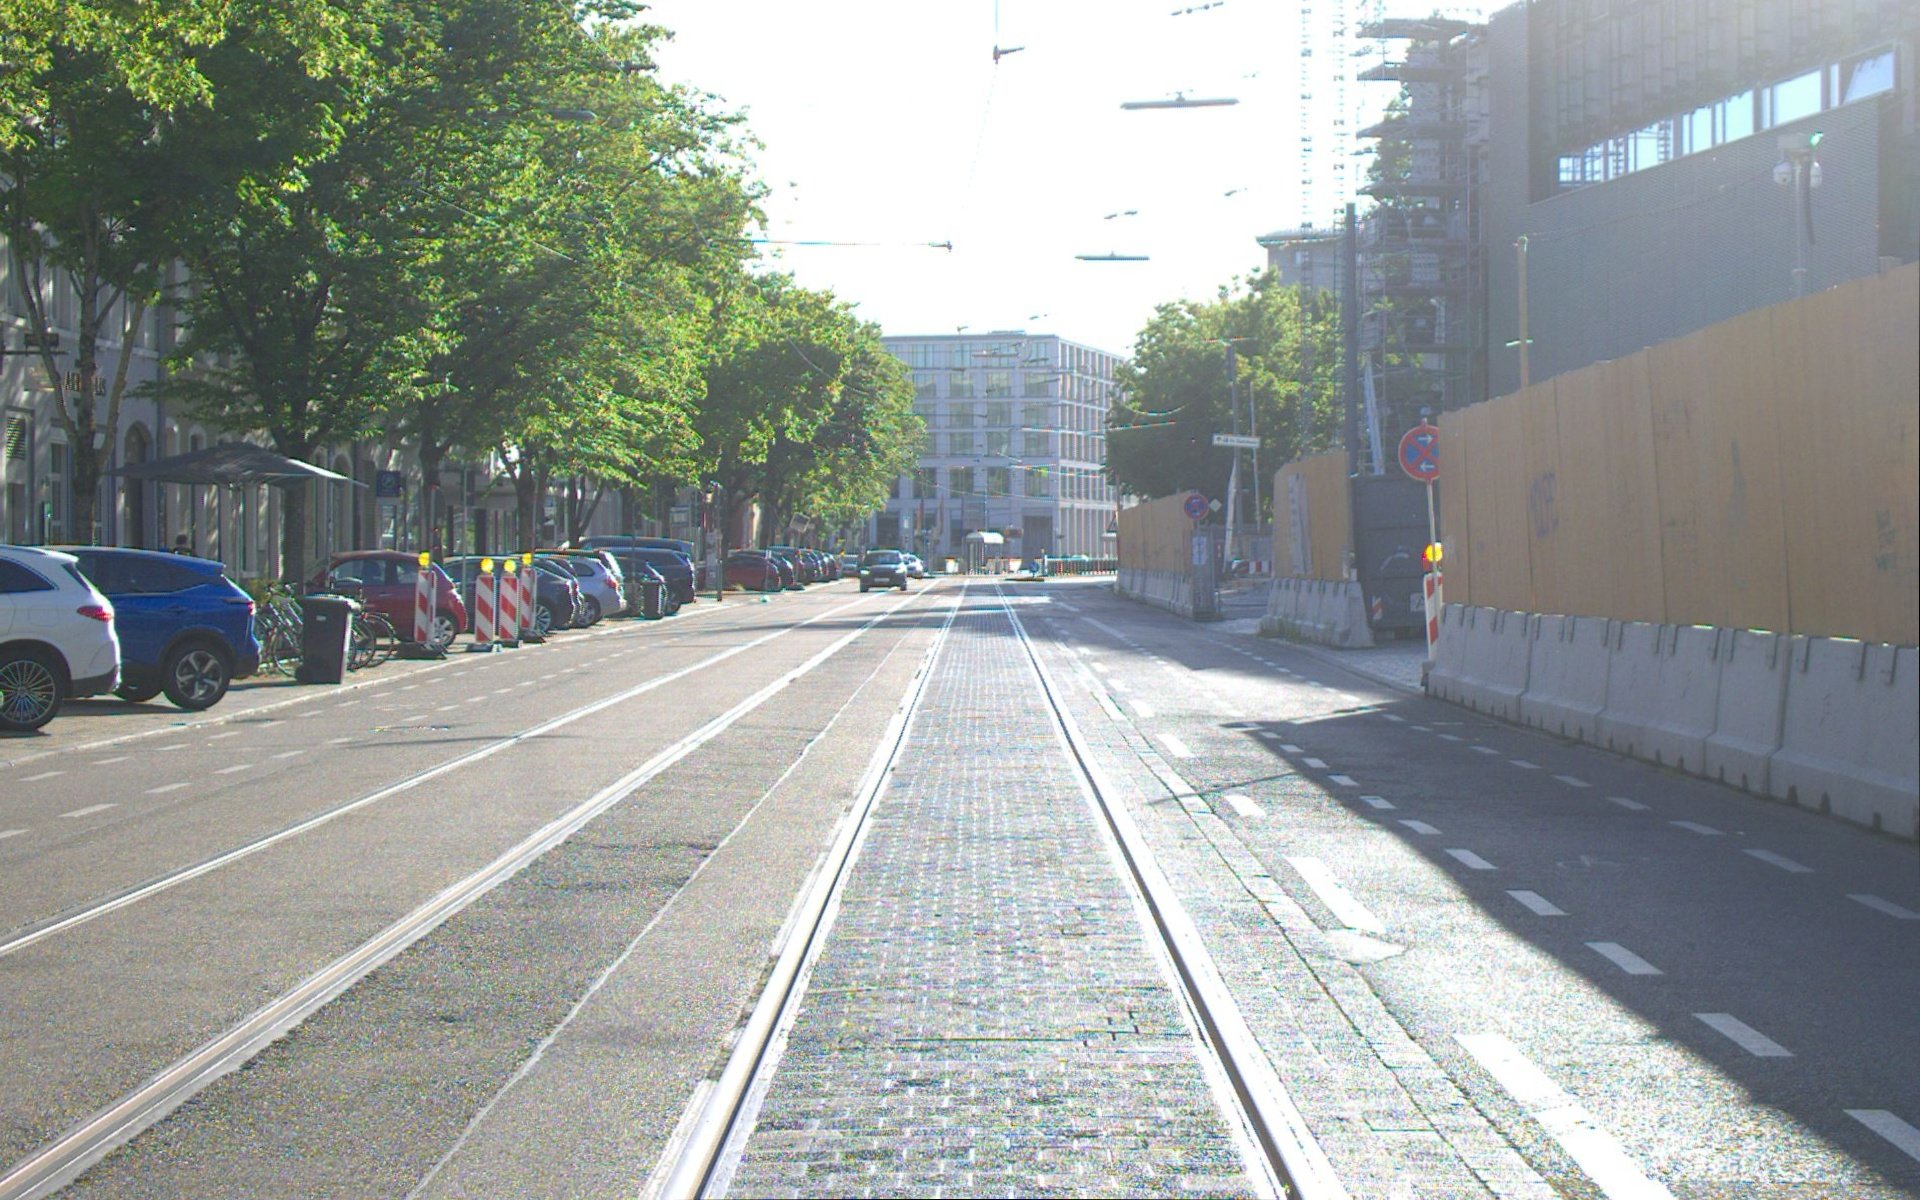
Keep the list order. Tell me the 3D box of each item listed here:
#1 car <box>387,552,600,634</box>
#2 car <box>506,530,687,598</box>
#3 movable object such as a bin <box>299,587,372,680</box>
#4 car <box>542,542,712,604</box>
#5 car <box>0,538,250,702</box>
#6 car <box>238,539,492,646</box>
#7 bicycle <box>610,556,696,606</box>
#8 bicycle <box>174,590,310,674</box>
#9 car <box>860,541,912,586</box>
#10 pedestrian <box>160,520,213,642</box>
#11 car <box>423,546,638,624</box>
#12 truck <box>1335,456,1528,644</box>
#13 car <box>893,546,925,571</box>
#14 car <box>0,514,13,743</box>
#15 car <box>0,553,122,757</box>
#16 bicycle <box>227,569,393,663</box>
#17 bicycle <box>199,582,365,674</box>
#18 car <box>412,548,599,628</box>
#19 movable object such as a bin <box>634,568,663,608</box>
[{"bbox_3d":[-9.052,-0.138,66.753,3.671,1.465,1.753,2,0,-28],"label":"car"},{"bbox_3d":[-9.203,-0.928,87.036,4.234,1.679,1.811,-1,1,-20],"label":"car"},{"bbox_3d":[-7.586,0.400,41.800,0.684,1.074,0.710,3,1,2],"label":"movable object such as a bin"},{"bbox_3d":[-8.203,-0.669,84.513,3.855,1.471,1.844,-1,1,-17],"label":"car"},{"bbox_3d":[-9.420,0.196,35.205,3.890,1.603,1.573,-2,1,-36],"label":"car"},{"bbox_3d":[-9.435,-0.112,54.489,3.612,1.548,1.669,1,2,-25],"label":"car"},{"bbox_3d":[-7.374,-0.451,82.581,1.965,1.140,0.493,2,0,-17],"label":"bicycle"},{"bbox_3d":[-8.853,0.394,42.425,1.599,0.984,0.389,1,1,-10],"label":"bicycle"},{"bbox_3d":[-2.962,-1.470,138.272,1.927,1.624,4.249,-3,2,0],"label":"car"},{"bbox_3d":[-12.717,-0.316,56.519,0.731,2.007,0.556,0,1,2],"label":"pedestrian"},{"bbox_3d":[-9.056,-0.315,72.504,4.103,1.507,1.841,1,1,-26],"label":"car"},{"bbox_3d":[7.844,-0.835,57.727,2.520,2.899,5.507,-3,1,2],"label":"truck"},{"bbox_3d":[-2.945,-2.380,196.546,1.709,1.431,4.171,0,1,-2],"label":"car"},{"bbox_3d":[-9.570,0.179,27.498,3.434,1.837,1.733,3,-2,-32],"label":"car"},{"bbox_3d":[-10.159,0.474,30.314,4.925,1.788,2.209,0,1,-35],"label":"car"},{"bbox_3d":[-8.587,0.205,45.427,2.003,1.084,0.567,4,1,3],"label":"bicycle"},{"bbox_3d":[-8.690,0.356,44.103,1.968,1.075,0.568,3,1,3],"label":"bicycle"},{"bbox_3d":[-9.198,-0.251,69.606,3.362,1.488,1.613,2,1,-27],"label":"car"},{"bbox_3d":[-7.413,-0.289,81.819,0.575,0.910,0.575,2,1,-15],"label":"movable object such as a bin"}]
